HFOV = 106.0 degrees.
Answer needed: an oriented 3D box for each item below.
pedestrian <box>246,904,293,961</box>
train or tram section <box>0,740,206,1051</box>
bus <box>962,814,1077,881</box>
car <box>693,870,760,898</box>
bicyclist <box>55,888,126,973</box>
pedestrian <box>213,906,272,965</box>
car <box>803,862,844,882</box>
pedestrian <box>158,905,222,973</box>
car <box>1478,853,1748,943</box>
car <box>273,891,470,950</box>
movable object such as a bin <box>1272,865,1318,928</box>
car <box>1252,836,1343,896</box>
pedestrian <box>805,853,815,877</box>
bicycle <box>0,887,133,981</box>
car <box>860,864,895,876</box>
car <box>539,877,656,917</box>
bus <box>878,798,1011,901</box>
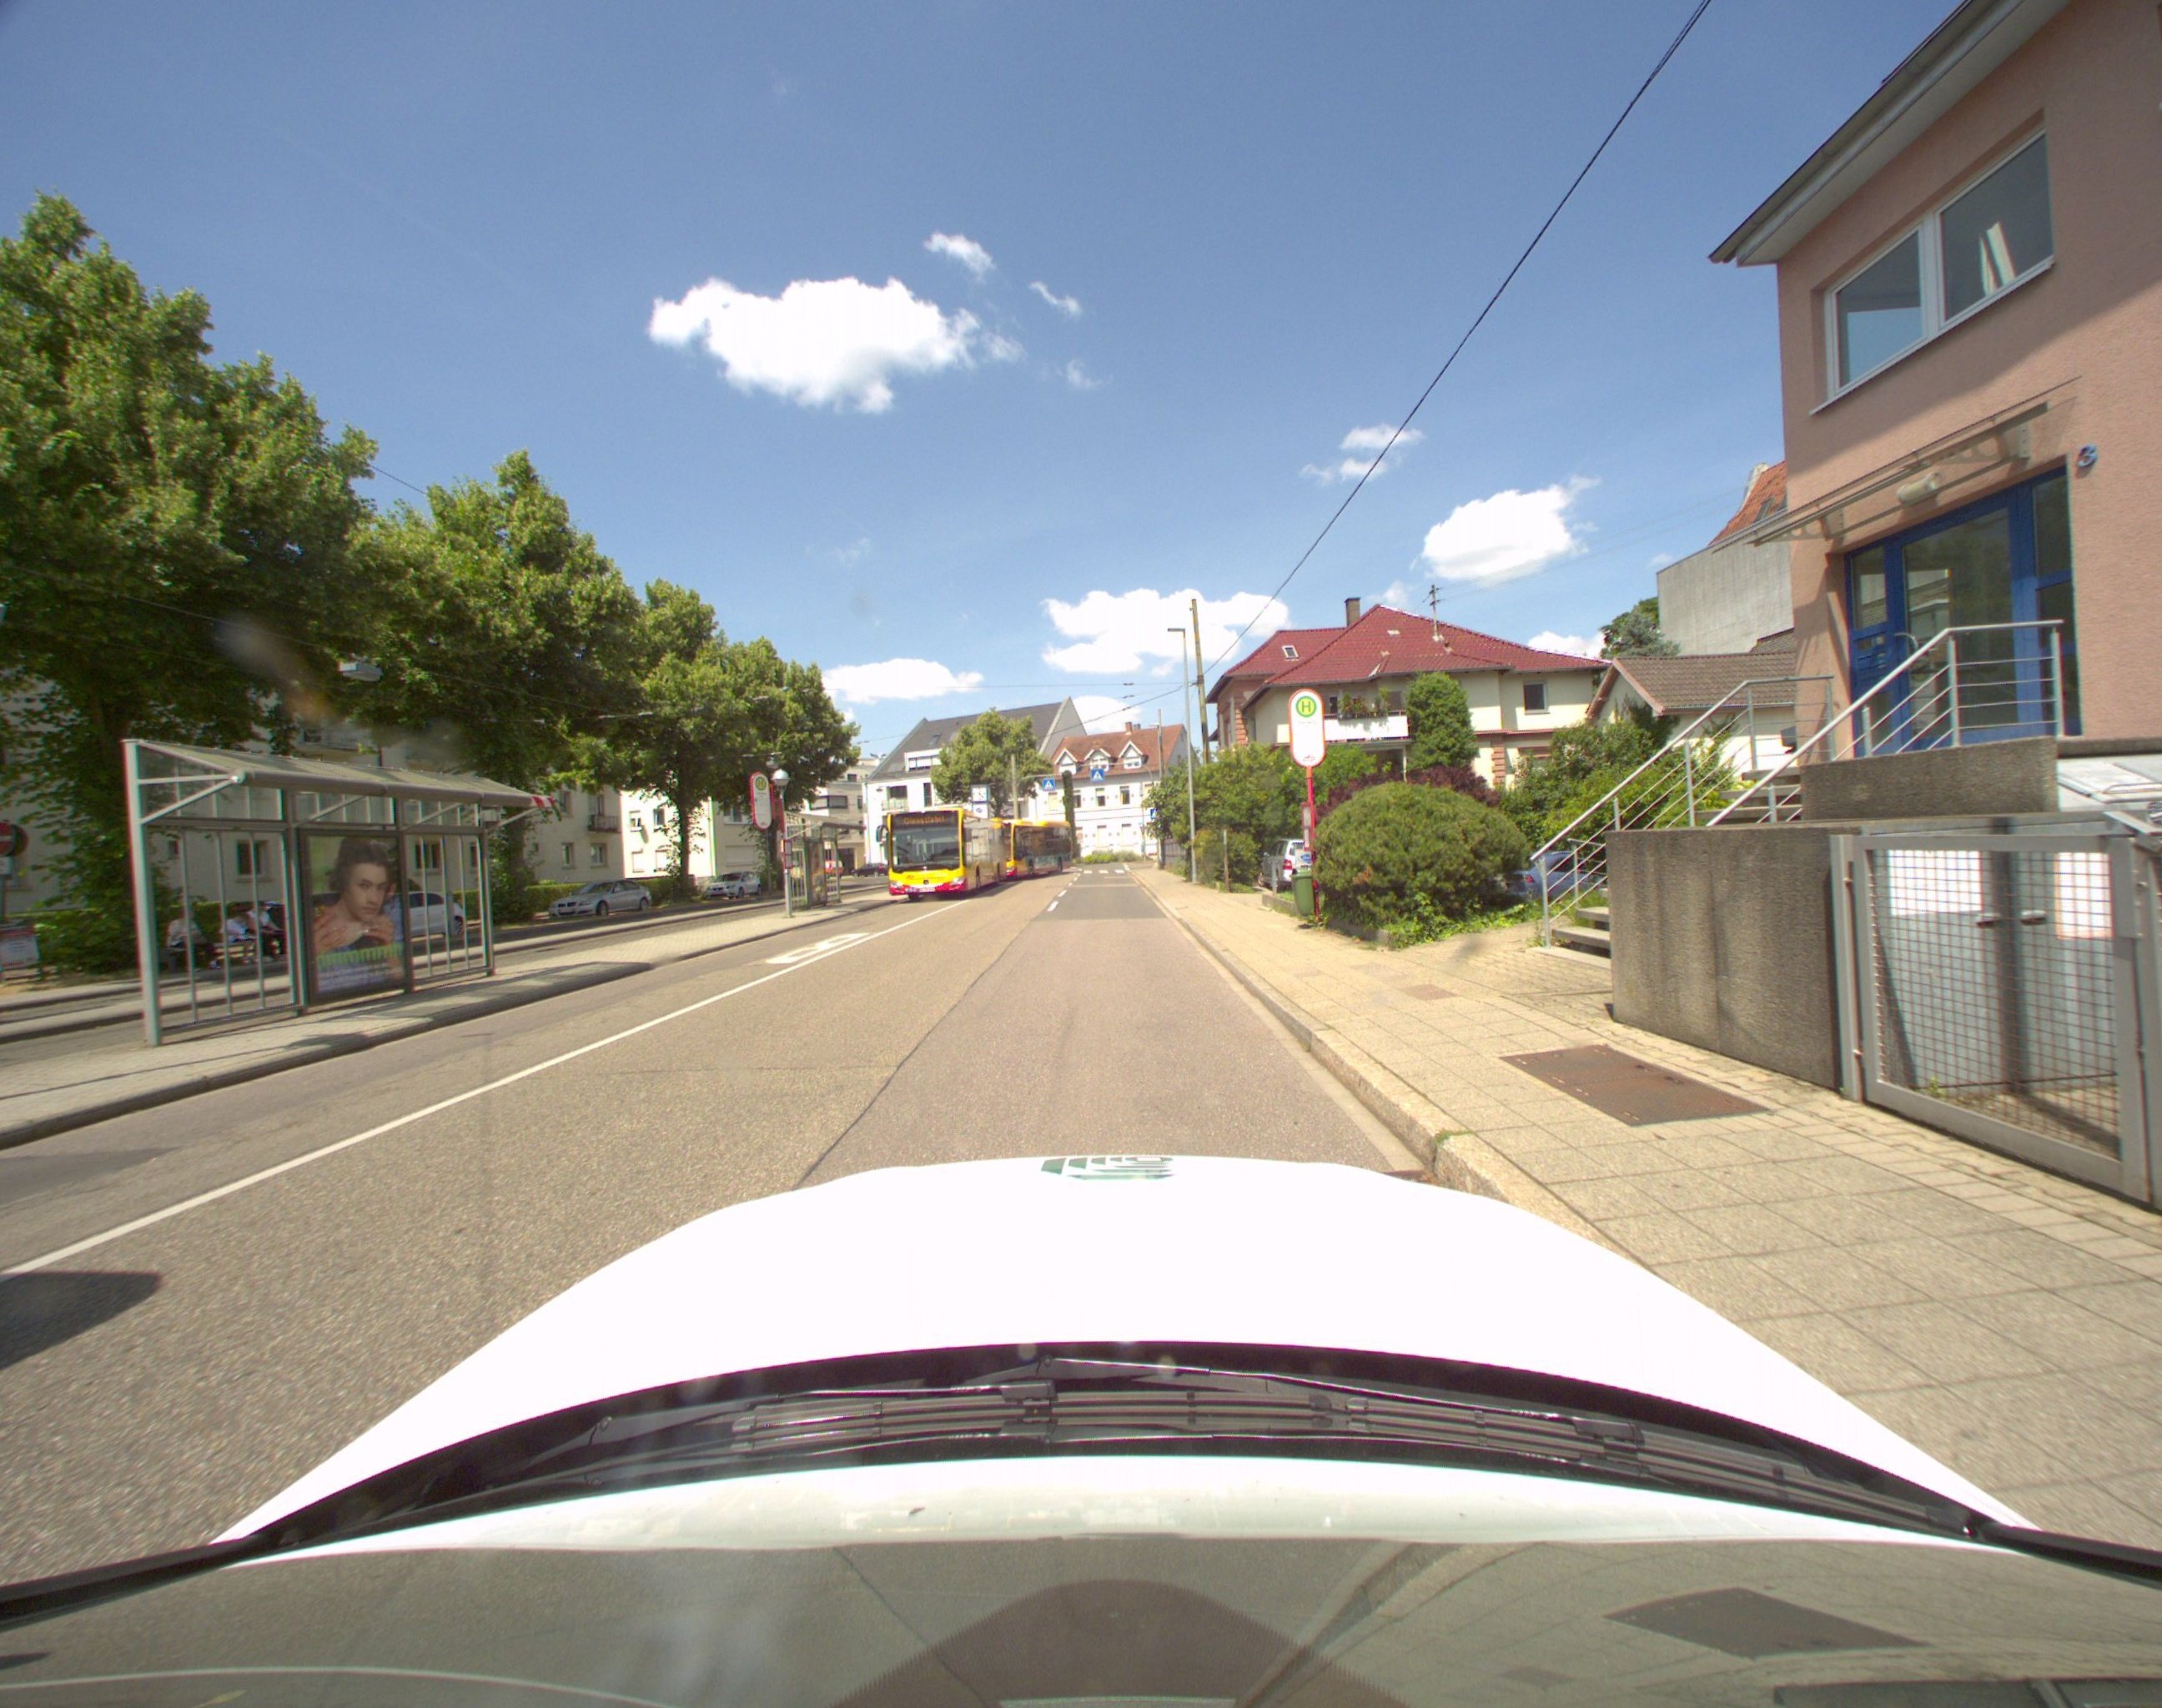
[{"bbox_3d":[-16.968,1.635,17.037,0.508,1.138,0.457,-1,-2,4],"label":"pedestrian"},{"bbox_3d":[-14.290,0.480,4.747,2.952,3.642,13.998,-1,0,2],"label":"train or tram section"},{"bbox_3d":[-3.012,-0.421,45.355,2.760,3.208,12.351,-1,1,13],"label":"bus"},{"bbox_3d":[-17.900,1.498,41.302,1.710,1.319,3.996,-1,-1,-2],"label":"car"},{"bbox_3d":[-20.943,1.601,17.229,0.633,1.744,0.673,-1,-2,1],"label":"bicyclist"},{"bbox_3d":[-16.995,1.644,16.510,0.612,1.138,0.541,-1,-2,4],"label":"pedestrian"},{"bbox_3d":[-27.192,1.866,85.920,3.949,2.014,2.012,-2,-2,30],"label":"car"},{"bbox_3d":[-17.088,1.628,15.631,0.612,1.251,0.541,-1,-2,4],"label":"pedestrian"},{"bbox_3d":[10.321,0.817,16.048,4.115,1.425,1.724,3,0,3],"label":"car"},{"bbox_3d":[-18.362,1.671,21.364,1.562,1.273,4.001,-1,-1,2],"label":"car"},{"bbox_3d":[3.285,0.641,12.531,0.405,0.907,0.729,-6,-1,-2],"label":"movable object such as a bin"},{"bbox_3d":[6.517,0.380,24.910,1.754,1.628,4.000,3,-1,1],"label":"car"},{"bbox_3d":[-22.779,0.959,68.417,0.688,2.014,0.612,0,-2,-33],"label":"pedestrian"},{"bbox_3d":[-20.948,1.602,16.851,0.629,1.813,1.670,-1,-1,2],"label":"bicycle"},{"bbox_3d":[-21.725,1.686,86.906,3.178,1.223,1.599,-1,-2,19],"label":"car"},{"bbox_3d":[-18.072,1.551,30.682,1.688,1.357,4.401,-1,-1,1],"label":"car"},{"bbox_3d":[-4.851,-0.106,31.861,2.897,3.248,12.120,-1,0,1],"label":"bus"}]
